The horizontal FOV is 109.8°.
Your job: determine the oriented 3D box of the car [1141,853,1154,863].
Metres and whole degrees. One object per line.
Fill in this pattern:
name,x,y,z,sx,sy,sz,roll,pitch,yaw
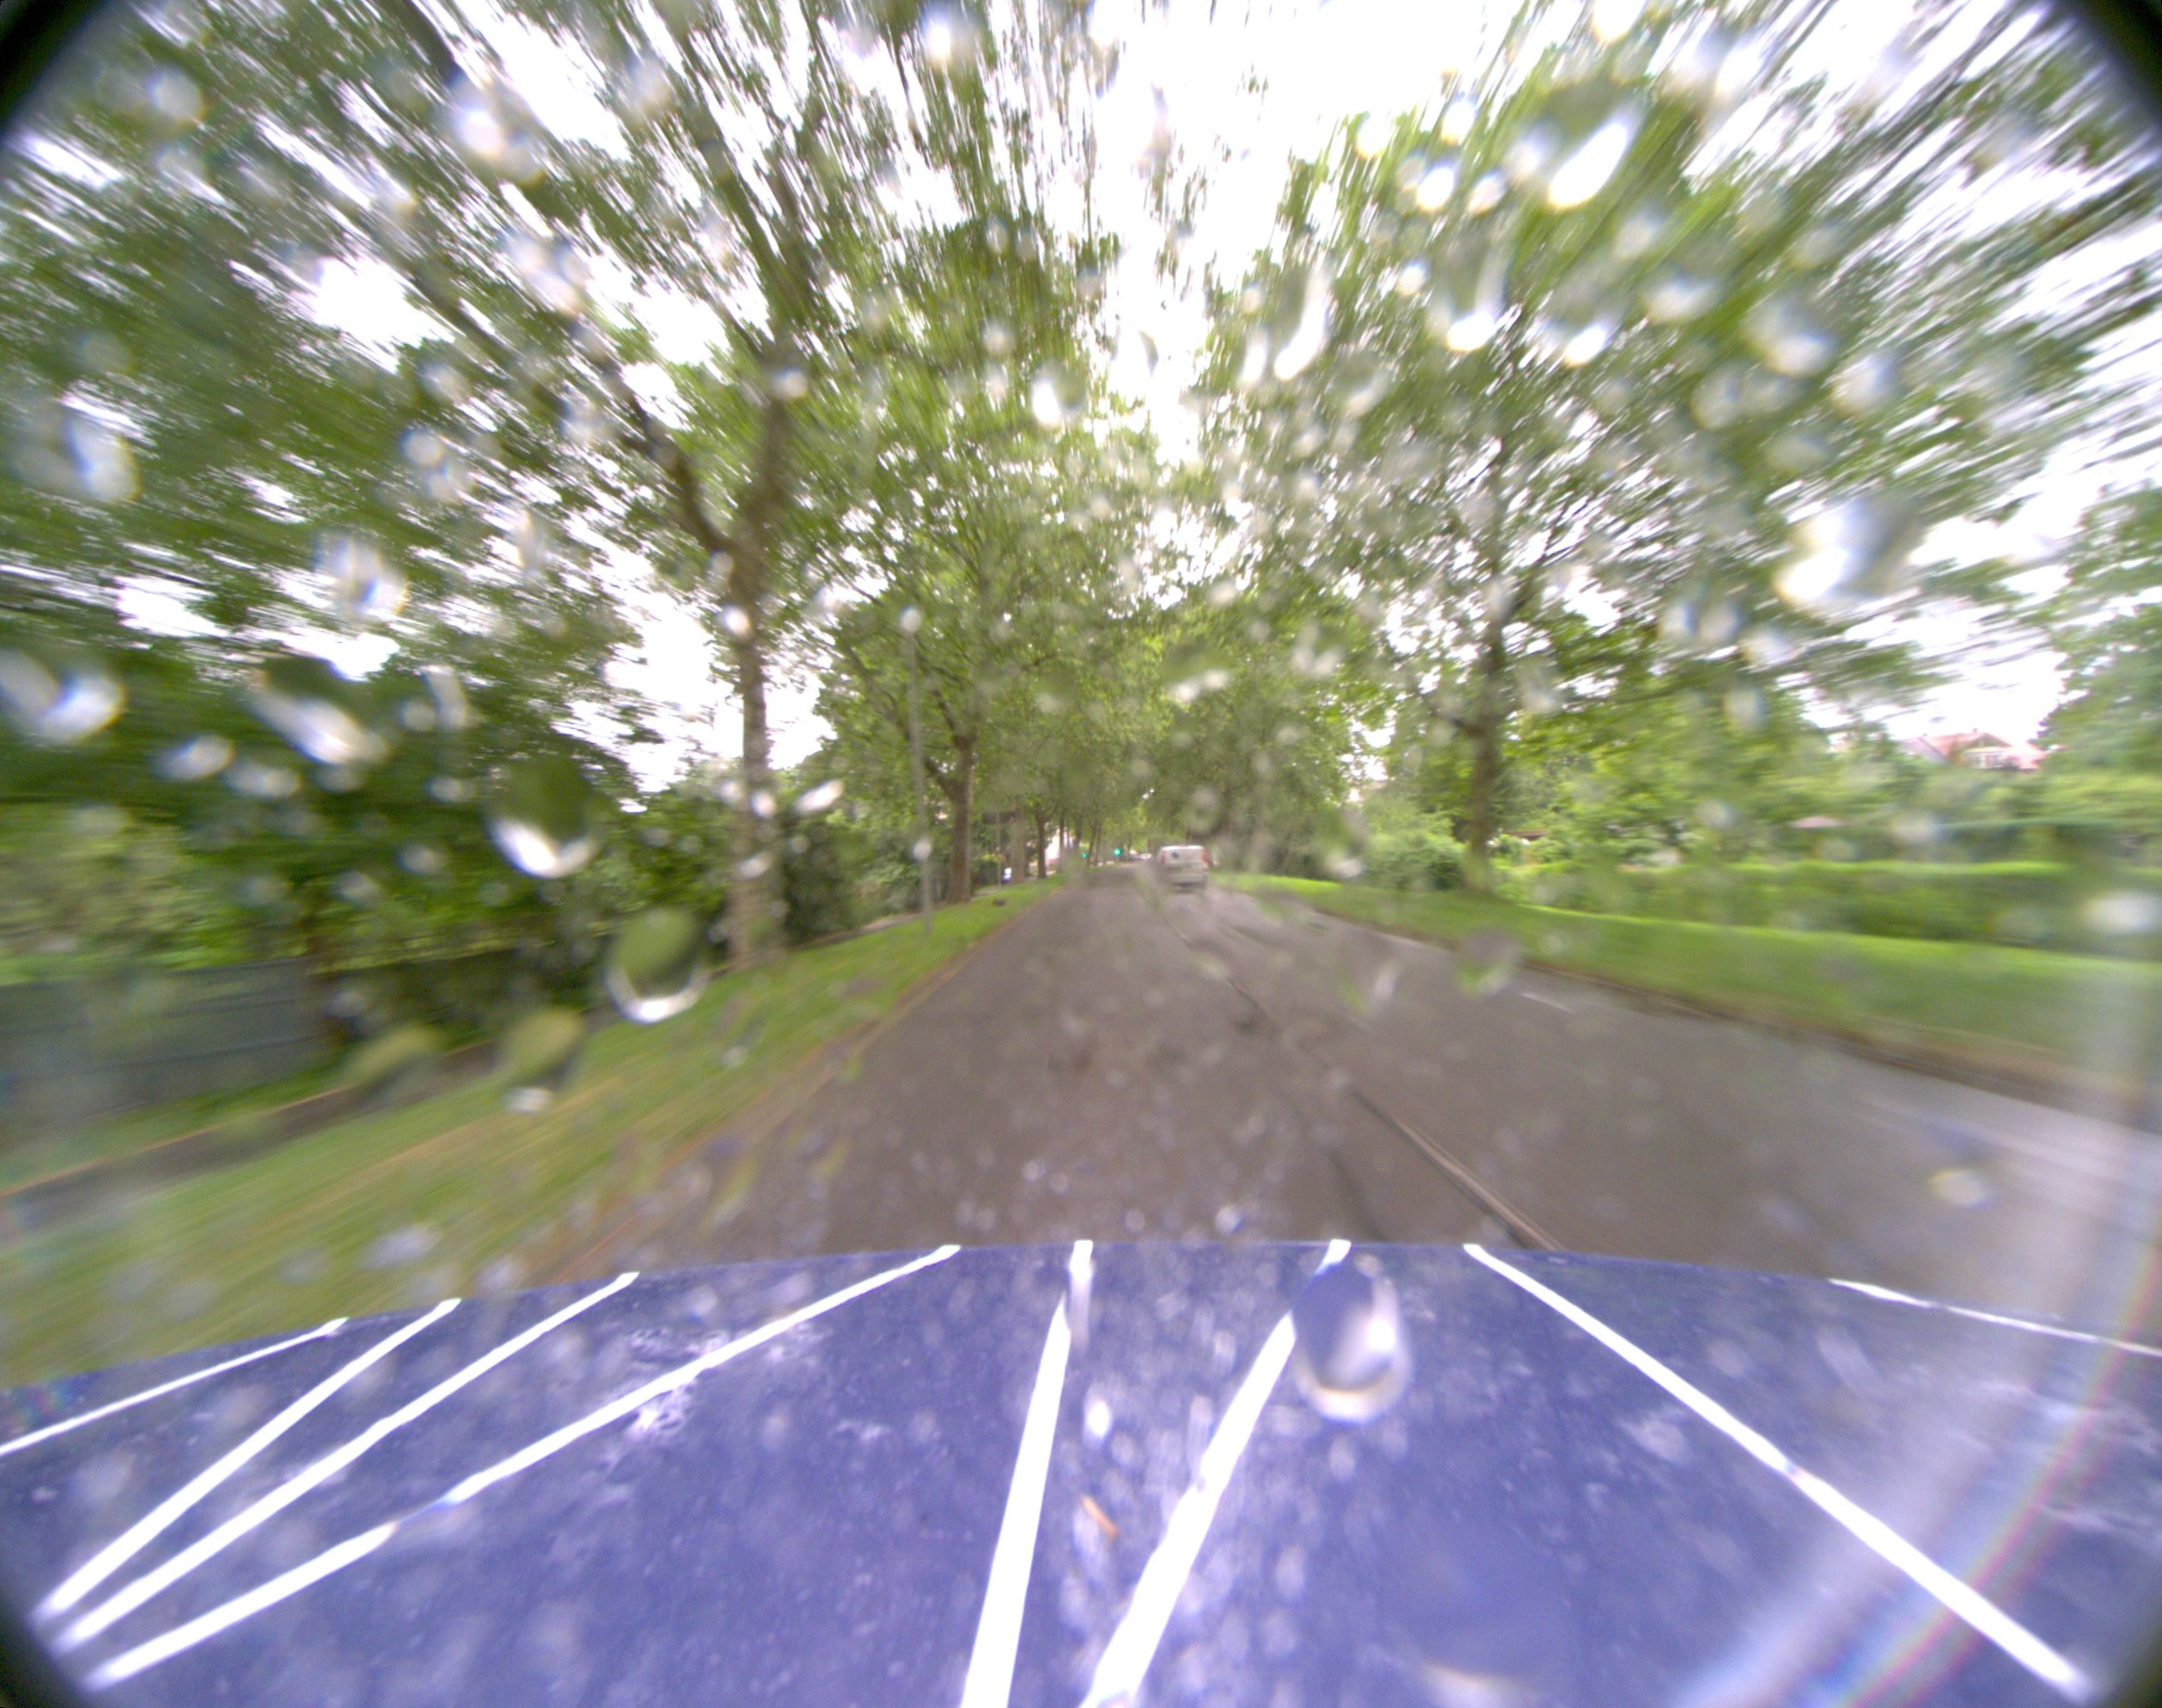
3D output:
car,11.122,0.683,127.254,1.850,1.493,4.000,-3,0,2

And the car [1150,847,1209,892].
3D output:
car,4.071,0.592,32.098,1.867,1.739,5.015,-1,0,1

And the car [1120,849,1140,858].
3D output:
car,10.831,-0.077,168.438,4.263,1.845,1.891,-3,0,-2

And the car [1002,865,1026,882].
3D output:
car,-6.460,1.894,73.565,1.800,1.317,4.000,-7,0,1
